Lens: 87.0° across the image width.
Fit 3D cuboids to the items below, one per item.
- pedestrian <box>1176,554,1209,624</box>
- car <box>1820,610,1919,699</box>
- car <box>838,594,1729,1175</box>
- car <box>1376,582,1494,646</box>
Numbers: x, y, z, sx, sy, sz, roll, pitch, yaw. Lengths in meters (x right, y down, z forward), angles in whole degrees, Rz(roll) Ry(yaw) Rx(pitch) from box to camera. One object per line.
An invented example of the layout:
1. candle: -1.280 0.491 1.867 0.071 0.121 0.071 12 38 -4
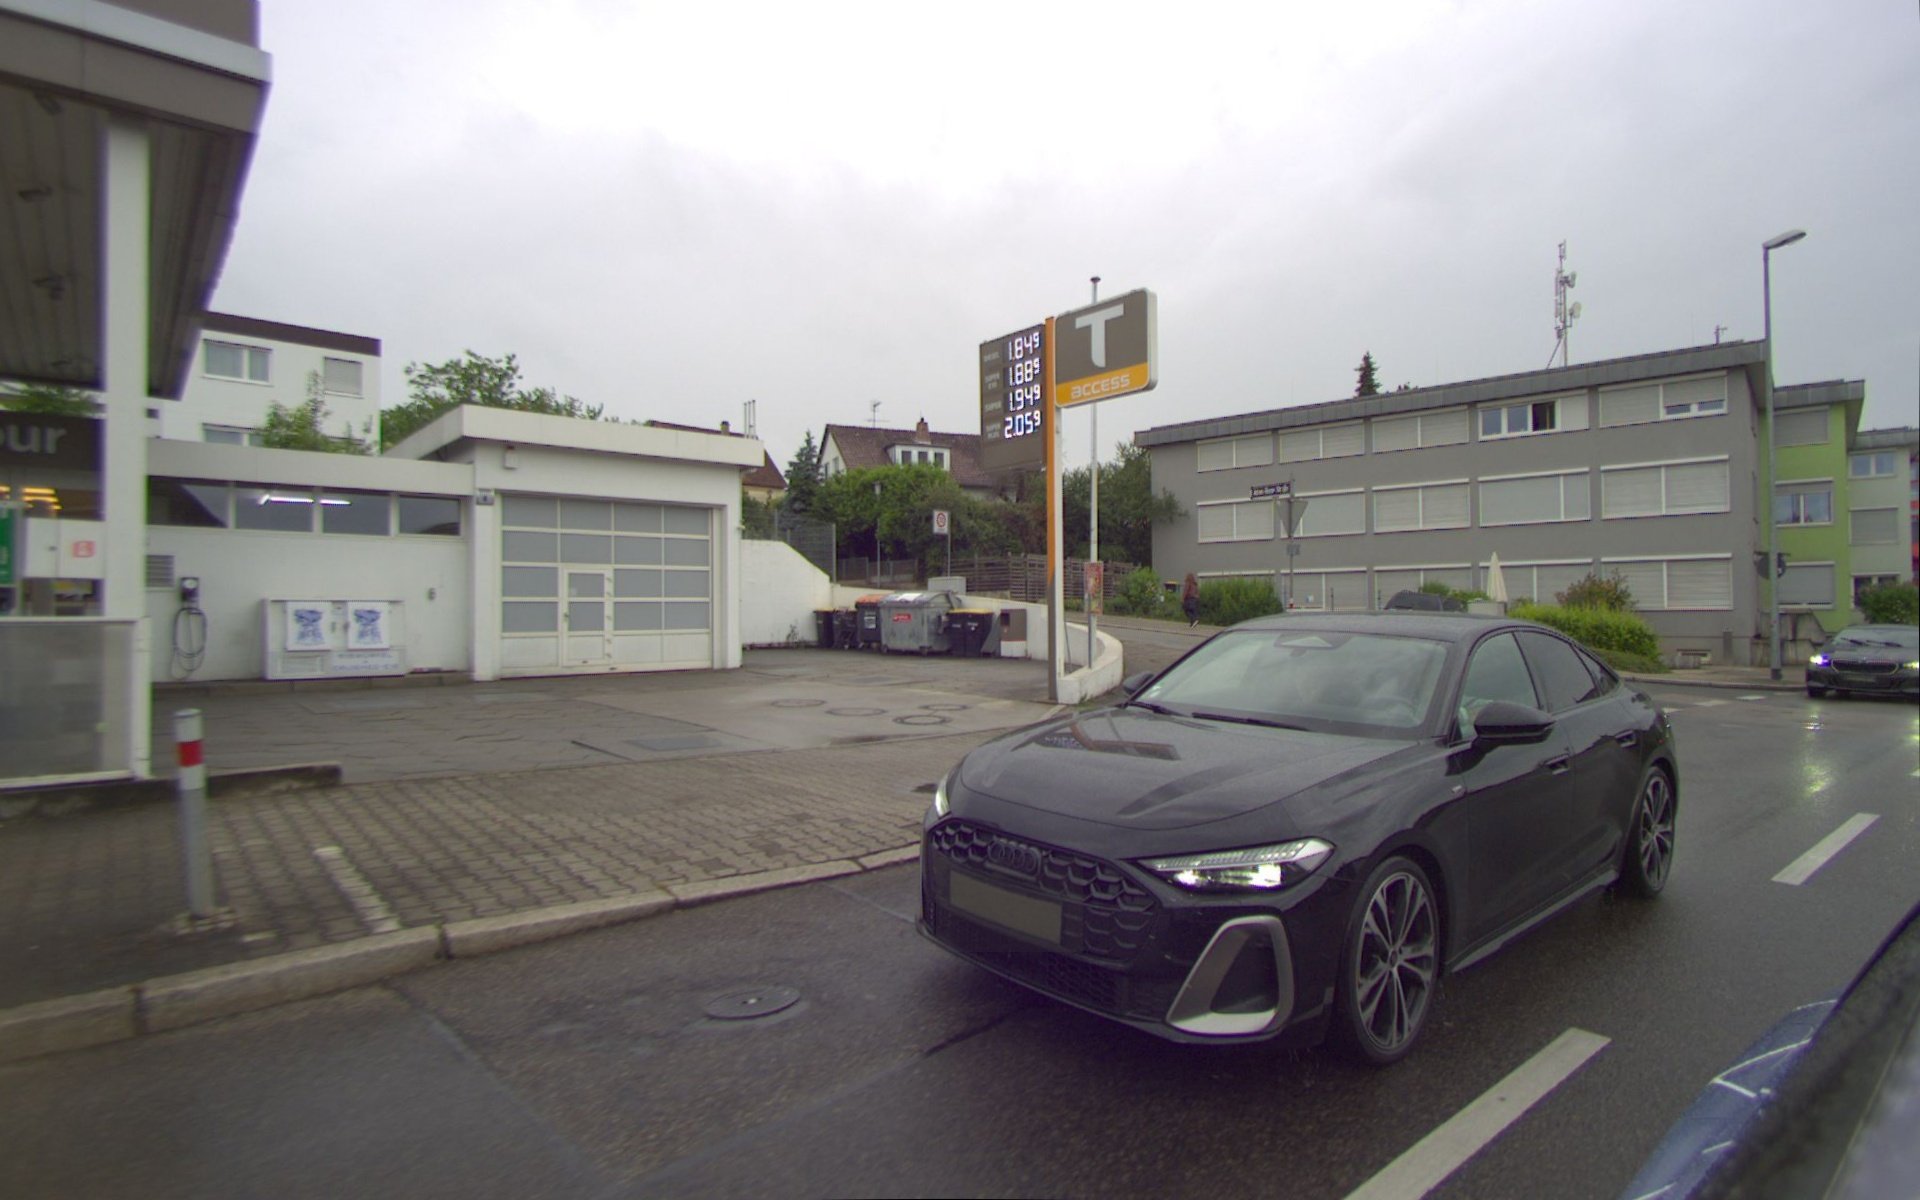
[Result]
1. pedestrian: 6.882 -0.320 29.936 0.604 2.039 0.717 0 1 -40
2. car: 18.617 0.999 19.983 3.929 1.538 1.871 -1 0 -40
3. car: 1.883 0.711 4.800 4.656 1.442 1.869 -1 0 -40
4. car: 13.006 0.324 27.616 1.809 1.545 3.940 5 3 41
